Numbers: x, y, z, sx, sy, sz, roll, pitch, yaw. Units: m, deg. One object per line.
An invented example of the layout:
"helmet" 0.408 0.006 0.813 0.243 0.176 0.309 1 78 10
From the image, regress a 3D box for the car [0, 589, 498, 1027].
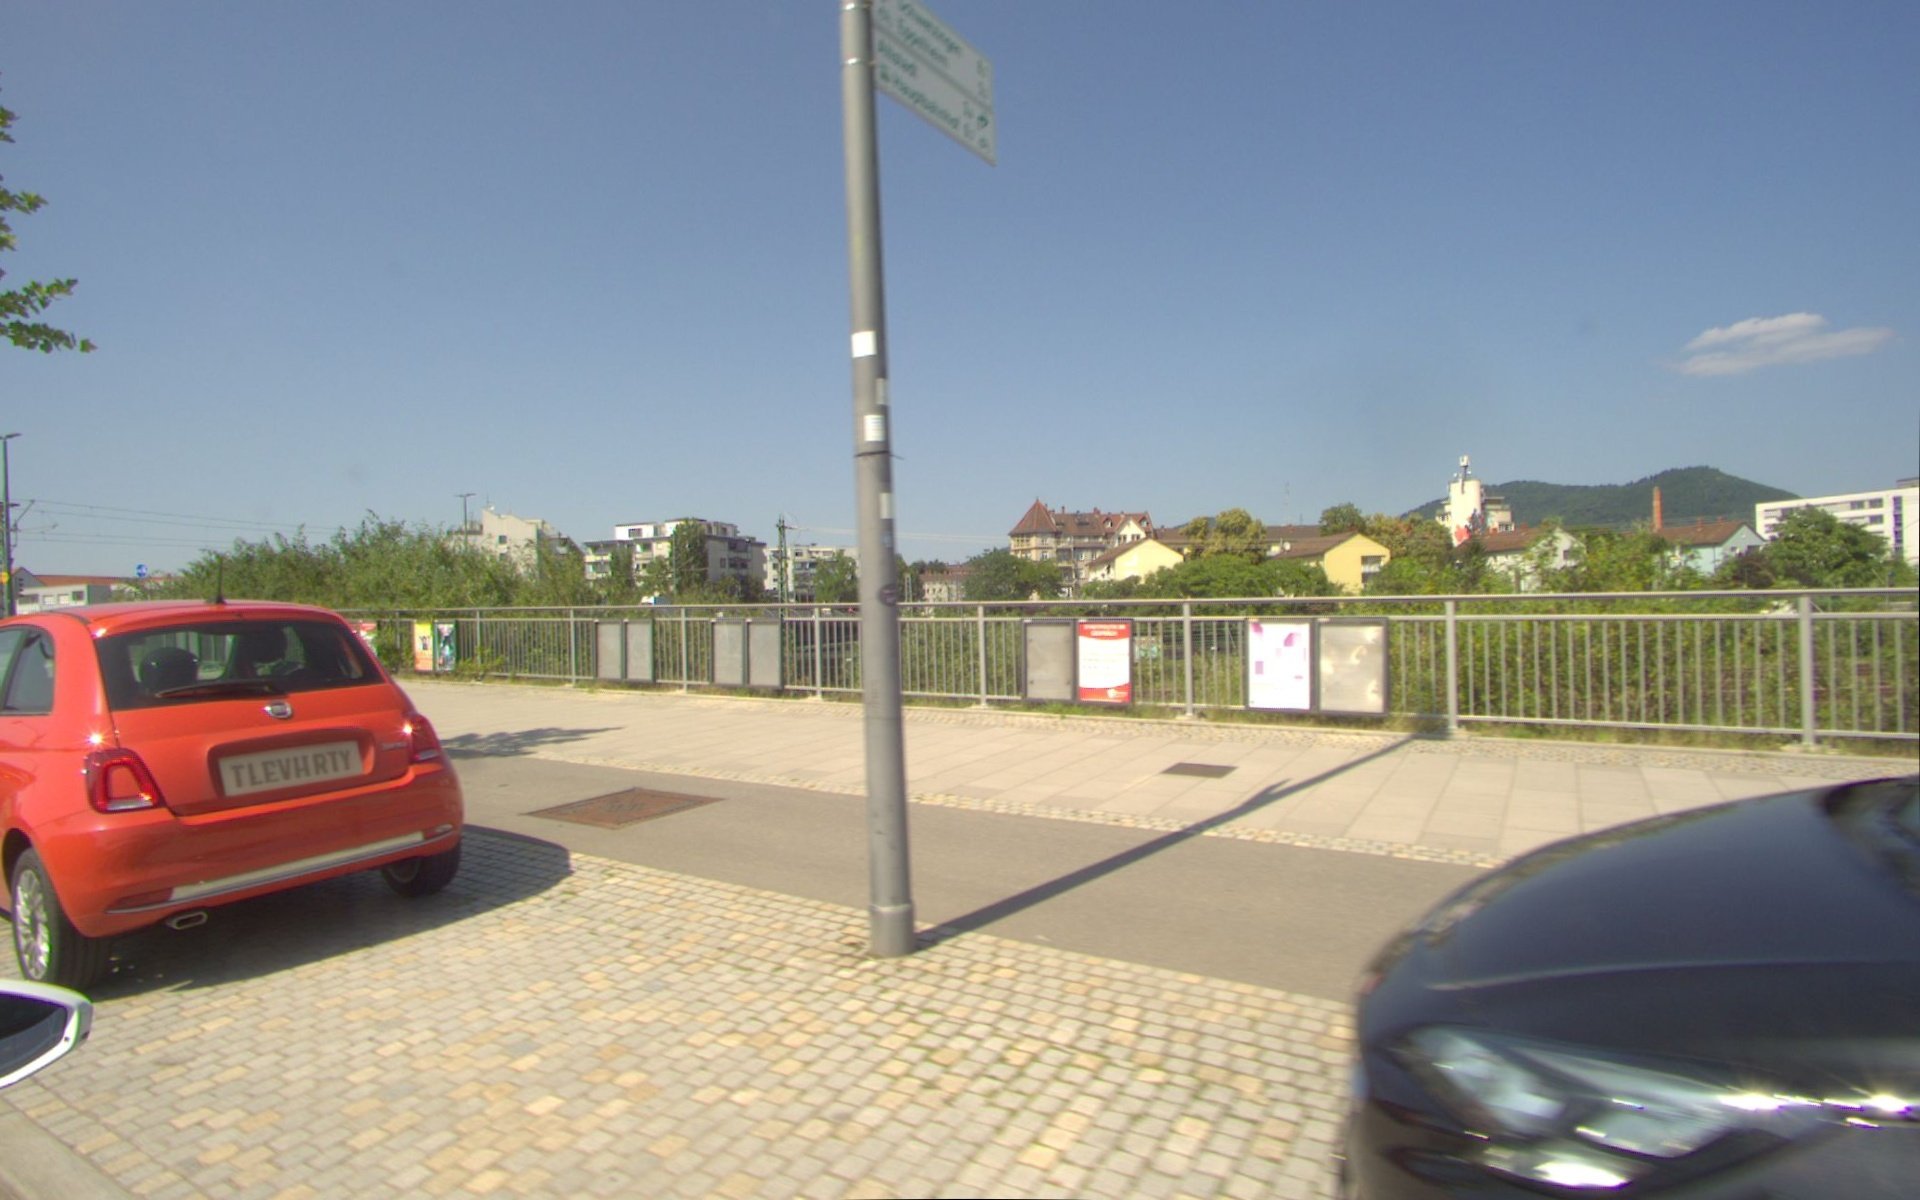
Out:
"car" -4.067 0.740 5.109 3.306 1.517 1.605 0 2 34

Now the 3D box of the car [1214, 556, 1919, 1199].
"car" 2.476 0.639 1.087 3.944 1.445 1.656 -1 1 33
